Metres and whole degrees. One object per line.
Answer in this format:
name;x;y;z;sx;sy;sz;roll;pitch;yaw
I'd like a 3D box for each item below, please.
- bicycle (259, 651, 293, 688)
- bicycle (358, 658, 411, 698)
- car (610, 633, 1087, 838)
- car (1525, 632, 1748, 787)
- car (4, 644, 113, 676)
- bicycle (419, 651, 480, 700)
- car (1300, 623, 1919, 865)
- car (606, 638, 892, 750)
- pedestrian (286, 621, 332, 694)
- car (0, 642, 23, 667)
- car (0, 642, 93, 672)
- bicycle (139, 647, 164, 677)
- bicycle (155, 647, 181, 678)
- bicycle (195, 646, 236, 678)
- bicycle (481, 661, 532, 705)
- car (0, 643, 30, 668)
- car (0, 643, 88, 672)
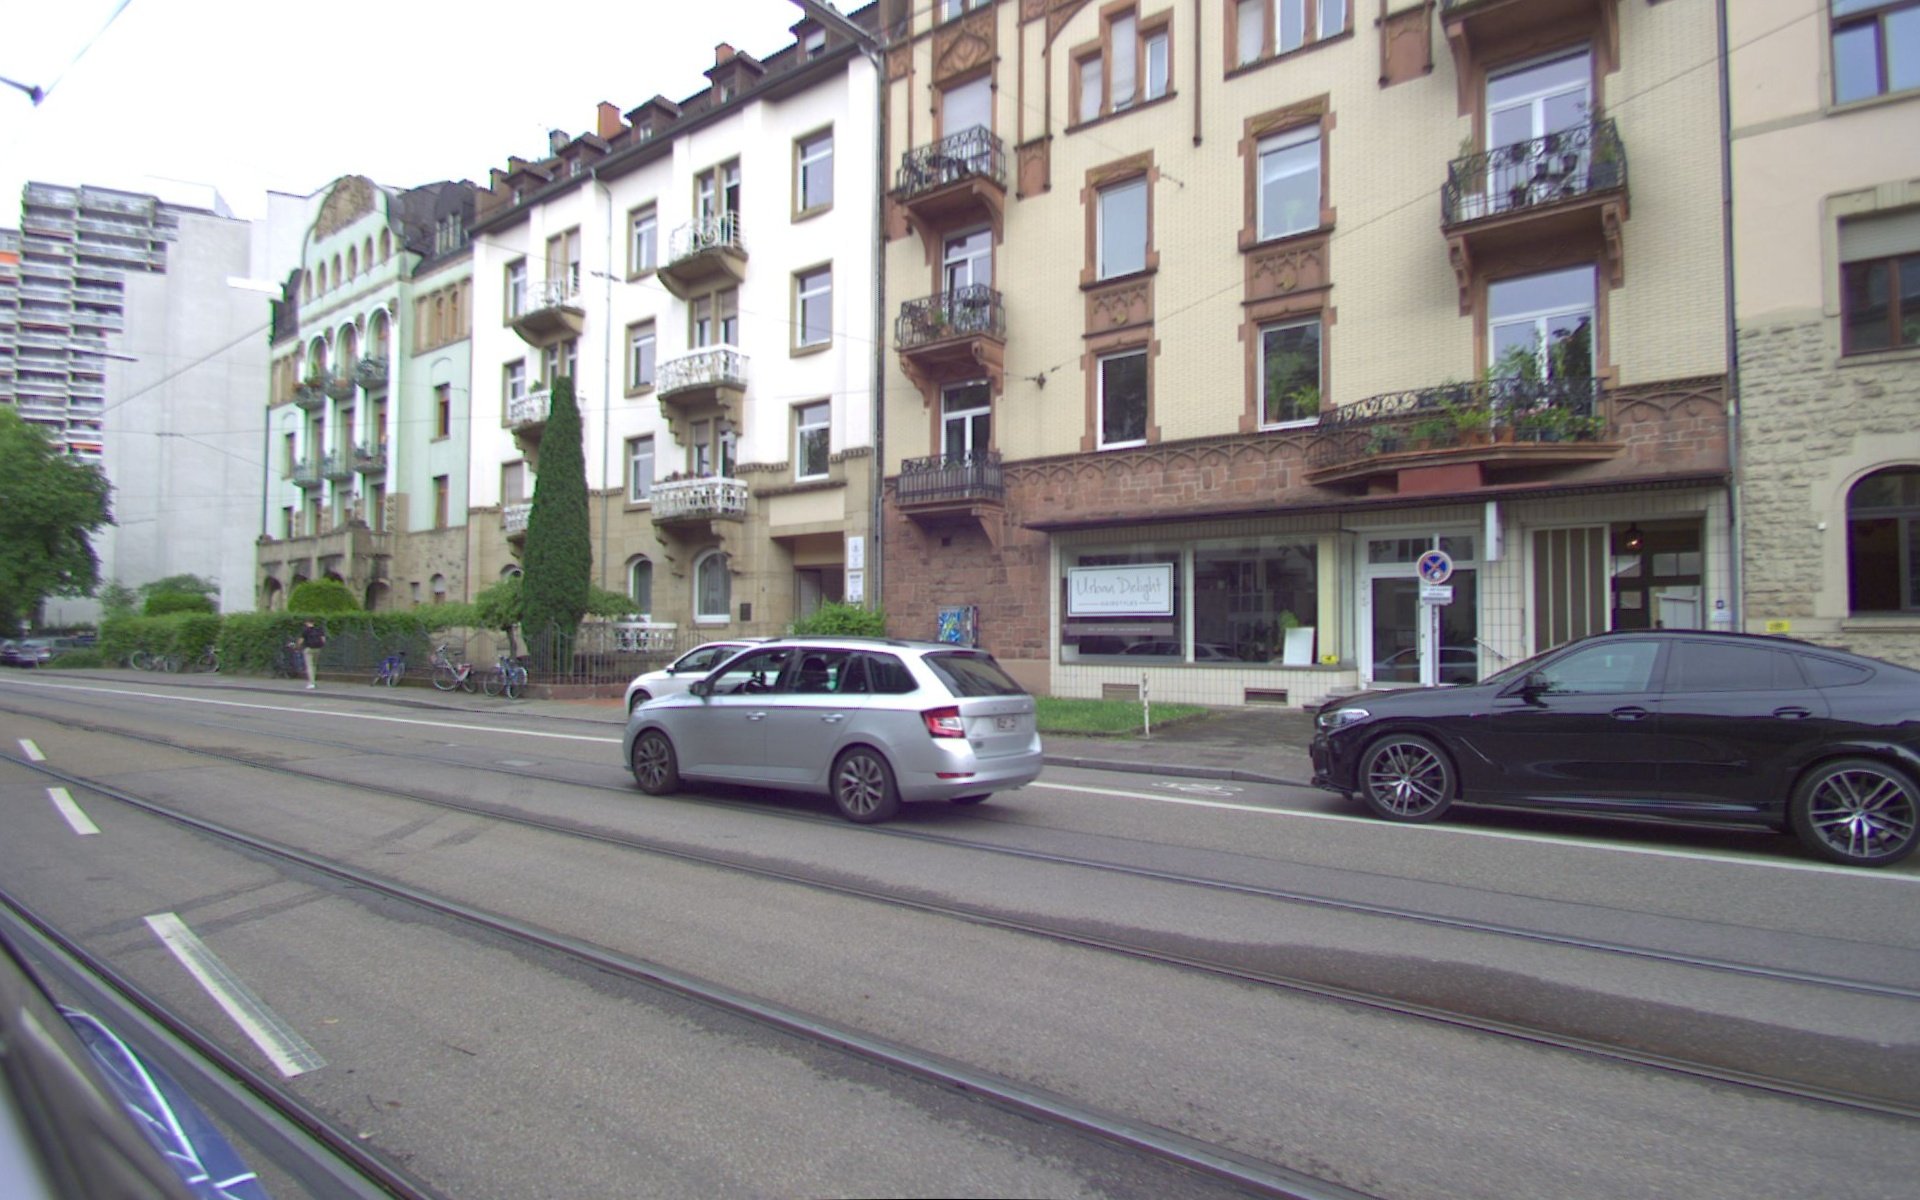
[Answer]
bicycle;-20.778;2.114;30.744;1.544;1.092;0.356;-2;-4;38
bicycle;-15.067;2.035;26.482;1.659;0.935;0.355;-3;-23;40
car;-1.052;1.039;8.863;3.988;1.421;1.675;-1;-4;33
car;8.085;1.151;12.274;1.875;1.380;4.390;-2;-1;33
car;-42.303;2.798;47.607;1.670;1.414;4.002;0;-3;-3
bicycle;-12.121;1.779;24.020;1.616;1.110;0.382;-1;-3;27
car;5.527;1.072;8.460;4.866;1.624;1.870;-1;-5;29
car;-3.354;1.352;15.655;4.600;1.496;1.731;-2;-4;37
pedestrian;-16.888;1.487;26.248;0.880;1.858;0.662;-2;-4;36
car;-57.486;3.189;59.342;1.669;1.453;4.005;1;-3;-6
car;-44.657;2.747;49.186;1.670;1.414;4.002;0;-3;-3
bicycle;-30.486;2.325;38.151;1.544;1.092;0.356;-2;-4;38
bicycle;-28.948;2.280;36.992;1.544;1.092;0.356;-2;-4;38
bicycle;-27.161;2.245;36.930;0.300;1.092;1.191;-2;-1;39
bicycle;-10.131;1.838;22.579;1.513;0.945;0.329;-2;-4;37
car;-55.205;3.138;57.309;1.669;1.405;4.005;1;-3;-6
car;-46.874;2.889;51.495;1.670;1.414;4.002;0;-3;-3
